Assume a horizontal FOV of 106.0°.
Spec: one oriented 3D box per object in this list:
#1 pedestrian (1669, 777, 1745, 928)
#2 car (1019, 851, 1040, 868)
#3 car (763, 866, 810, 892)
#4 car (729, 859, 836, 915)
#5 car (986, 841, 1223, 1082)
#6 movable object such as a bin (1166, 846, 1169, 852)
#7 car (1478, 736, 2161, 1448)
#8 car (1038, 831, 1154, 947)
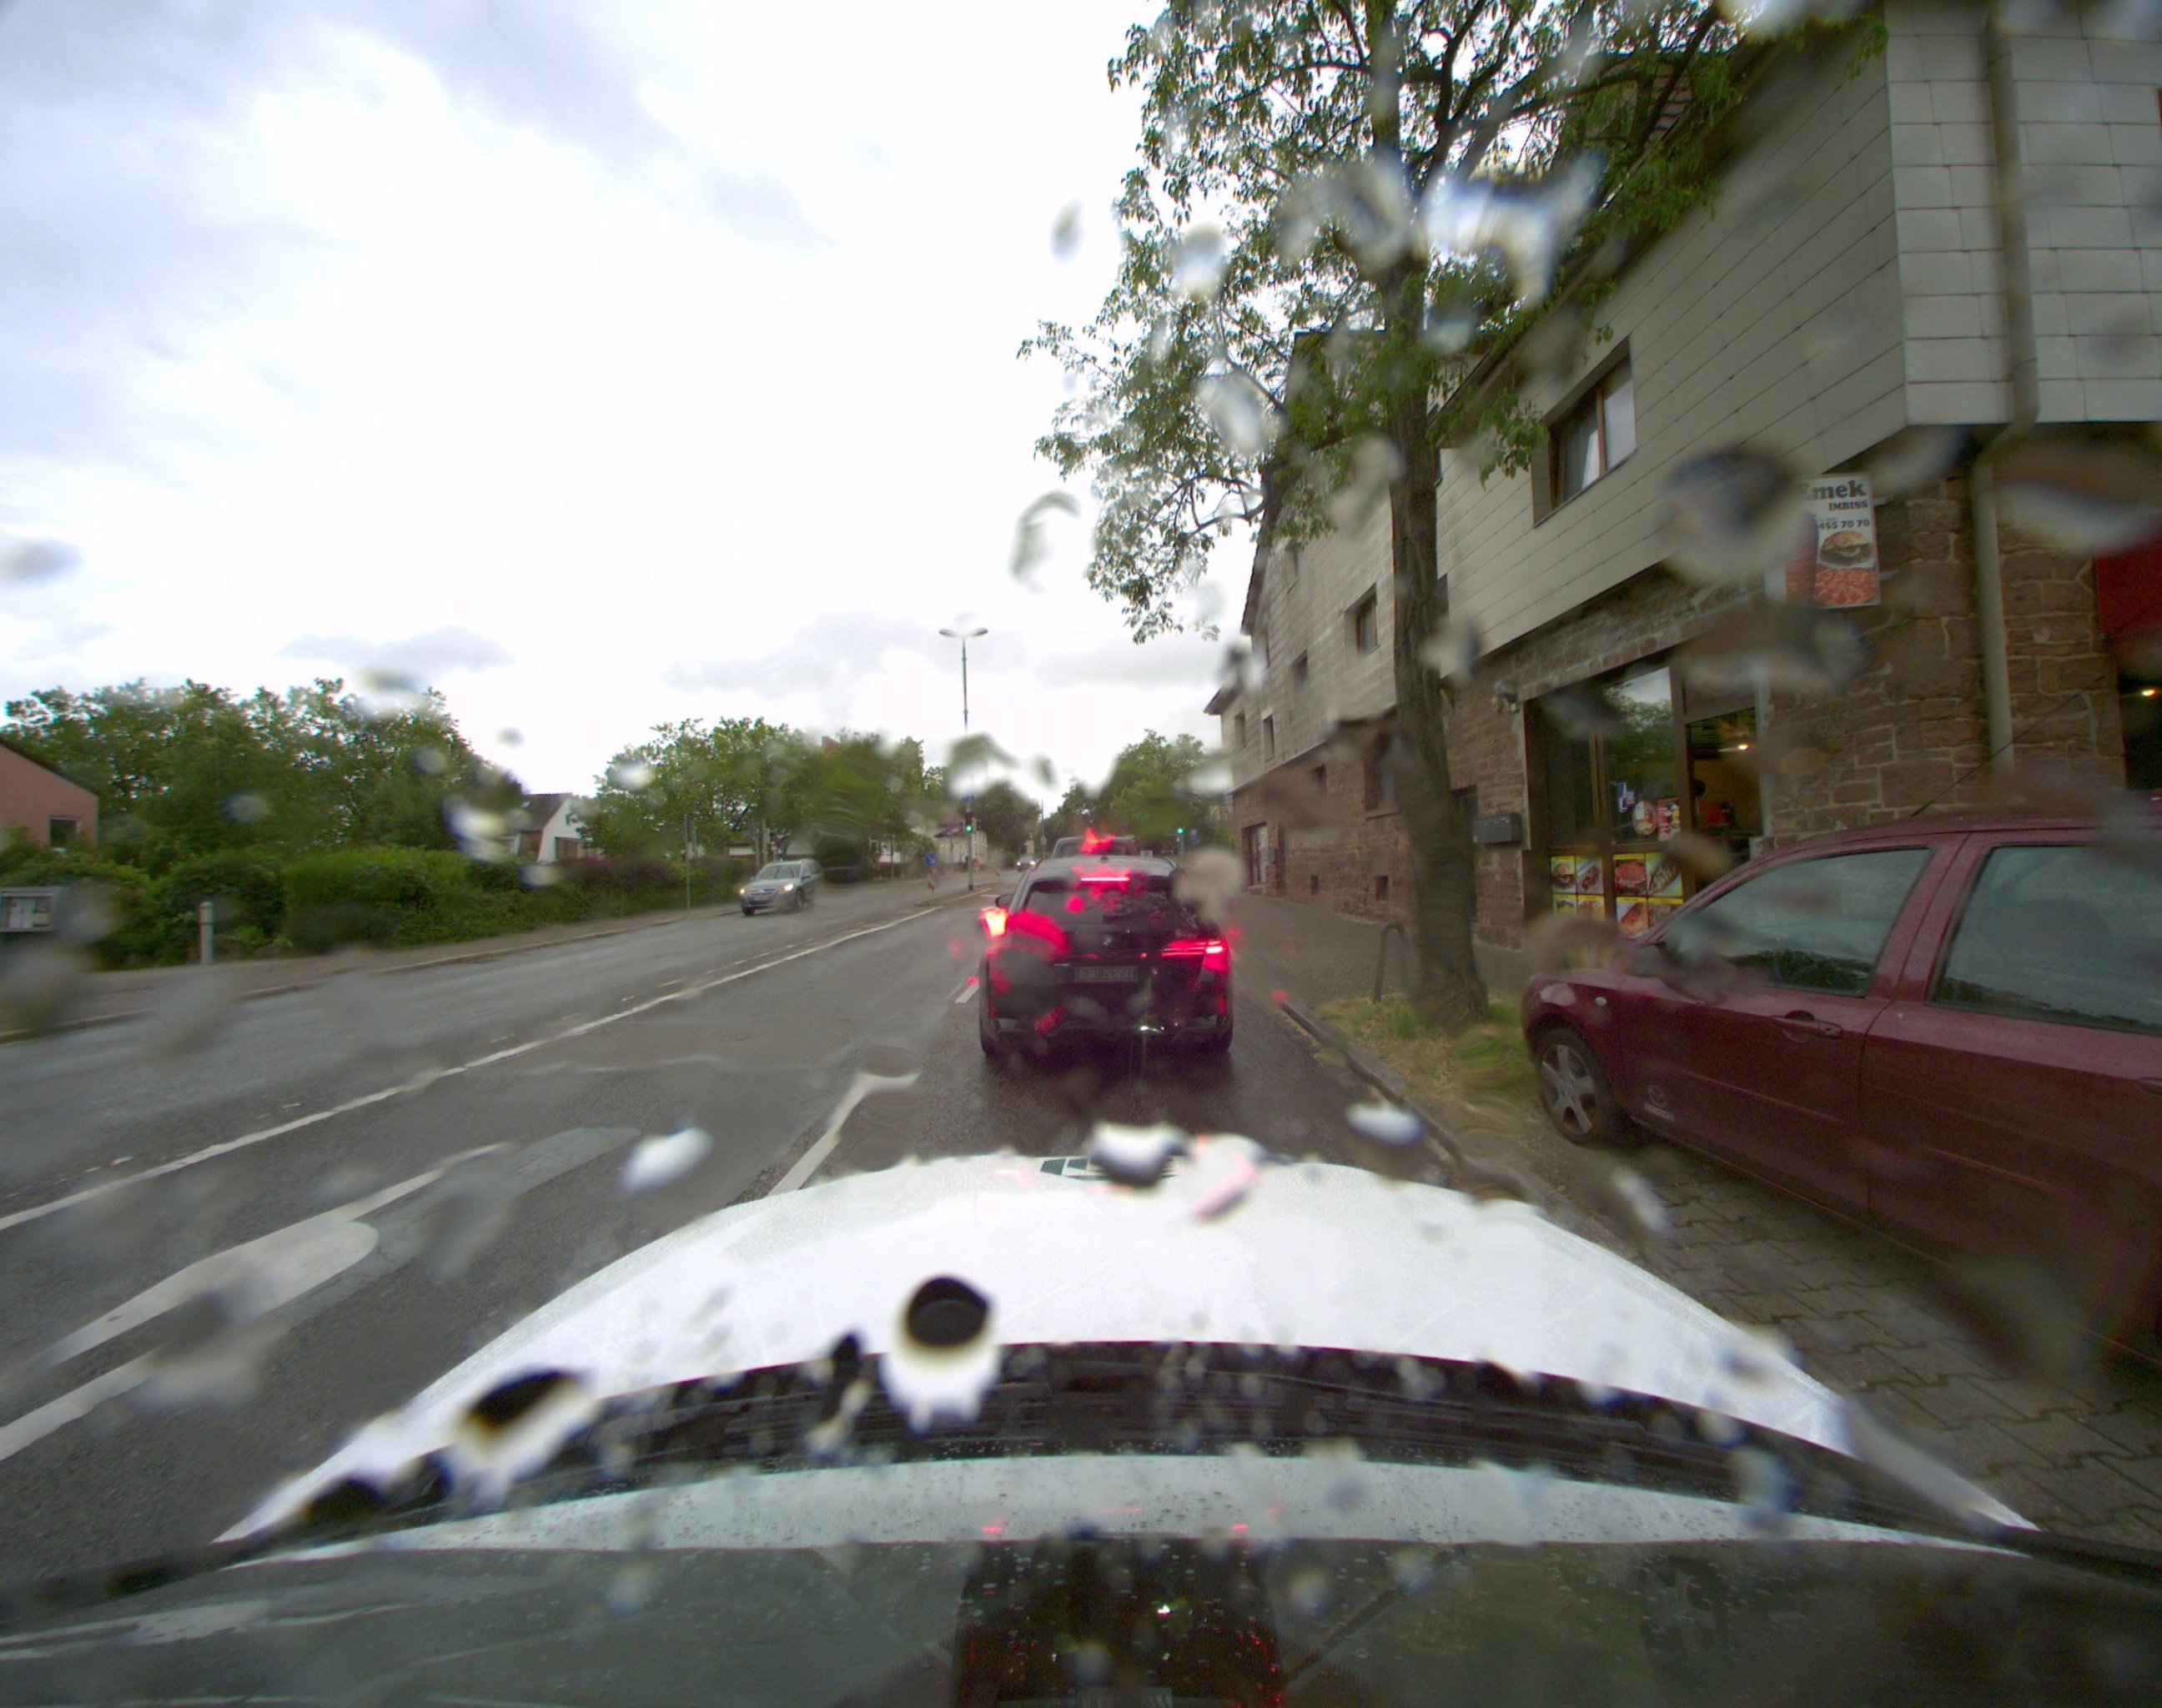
[{"bbox_3d":[7.040,-0.012,9.171,0.490,1.660,0.455,0,-1,1],"label":"pedestrian"},{"bbox_3d":[-5.198,0.498,82.749,1.893,1.577,4.500,-2,1,-1],"label":"car"},{"bbox_3d":[-20.976,1.754,58.150,1.803,1.551,4.001,0,3,0],"label":"car"},{"bbox_3d":[-9.685,1.010,26.802,1.903,1.590,4.315,-3,0,-1],"label":"car"},{"bbox_3d":[0.125,0.705,7.018,1.519,1.534,3.530,0,-1,-1],"label":"car"},{"bbox_3d":[12.231,-0.711,115.196,0.446,0.906,0.465,-1,-1,17],"label":"movable object such as a bin"},{"bbox_3d":[3.067,0.531,2.693,1.606,1.504,3.754,0,-2,-1],"label":"car"},{"bbox_3d":[0.201,0.559,14.656,1.807,1.809,3.754,0,-1,-1],"label":"car"}]
